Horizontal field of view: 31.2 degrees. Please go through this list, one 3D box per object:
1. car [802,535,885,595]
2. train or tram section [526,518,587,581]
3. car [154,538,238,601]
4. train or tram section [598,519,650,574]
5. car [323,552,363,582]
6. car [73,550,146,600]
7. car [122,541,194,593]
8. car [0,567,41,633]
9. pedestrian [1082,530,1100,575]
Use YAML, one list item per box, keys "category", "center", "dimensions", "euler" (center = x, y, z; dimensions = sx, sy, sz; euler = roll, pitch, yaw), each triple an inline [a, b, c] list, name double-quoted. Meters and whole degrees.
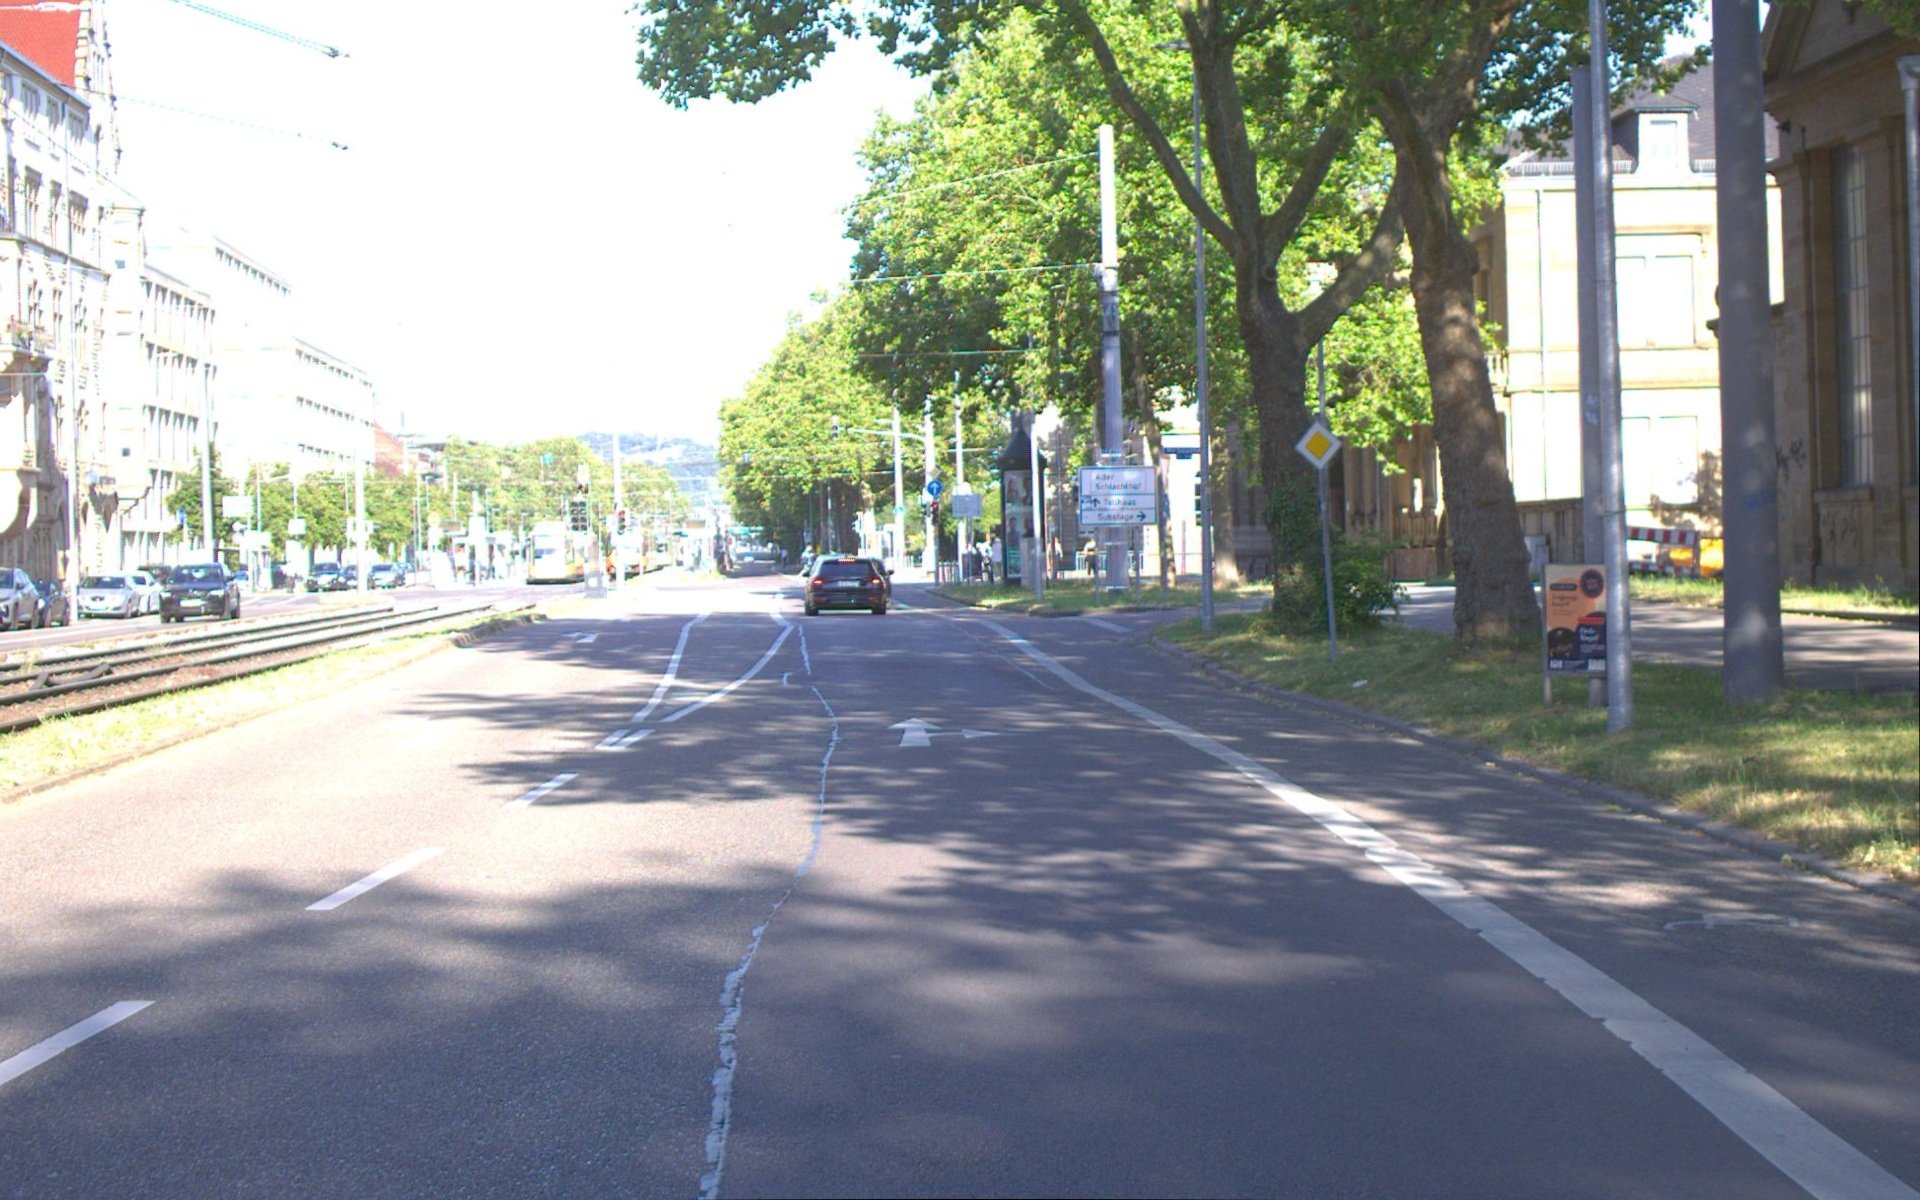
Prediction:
- category: "car"
  center: [-2.843, -0.866, 83.141]
  dimensions: [1.833, 1.386, 4.160]
  euler: [-1, 1, -4]
- category: "train or tram section"
  center: [-23.008, -2.910, 196.335]
  dimensions: [2.825, 3.439, 9.065]
  euler: [-2, 1, -3]
- category: "car"
  center: [-20.846, -0.854, 93.910]
  dimensions: [1.635, 1.596, 4.160]
  euler: [-3, 1, -5]
- category: "train or tram section"
  center: [-22.311, -3.568, 228.040]
  dimensions: [2.825, 3.439, 9.066]
  euler: [-2, 1, -8]
- category: "car"
  center: [-33.294, -1.777, 185.525]
  dimensions: [1.794, 1.505, 4.001]
  euler: [-2, 1, -6]
- category: "car"
  center: [-26.789, -0.805, 108.366]
  dimensions: [1.794, 1.505, 4.001]
  euler: [1, 1, -8]
- category: "car"
  center: [-27.859, -1.158, 119.511]
  dimensions: [1.794, 1.713, 4.186]
  euler: [1, 1, -5]
- category: "car"
  center: [-25.616, -0.022, 90.981]
  dimensions: [1.686, 1.646, 4.200]
  euler: [1, 1, -4]
- category: "pedestrian"
  center: [5.022, -1.831, 131.804]
  dimensions: [0.588, 1.722, 0.650]
  euler: [0, 1, 11]
